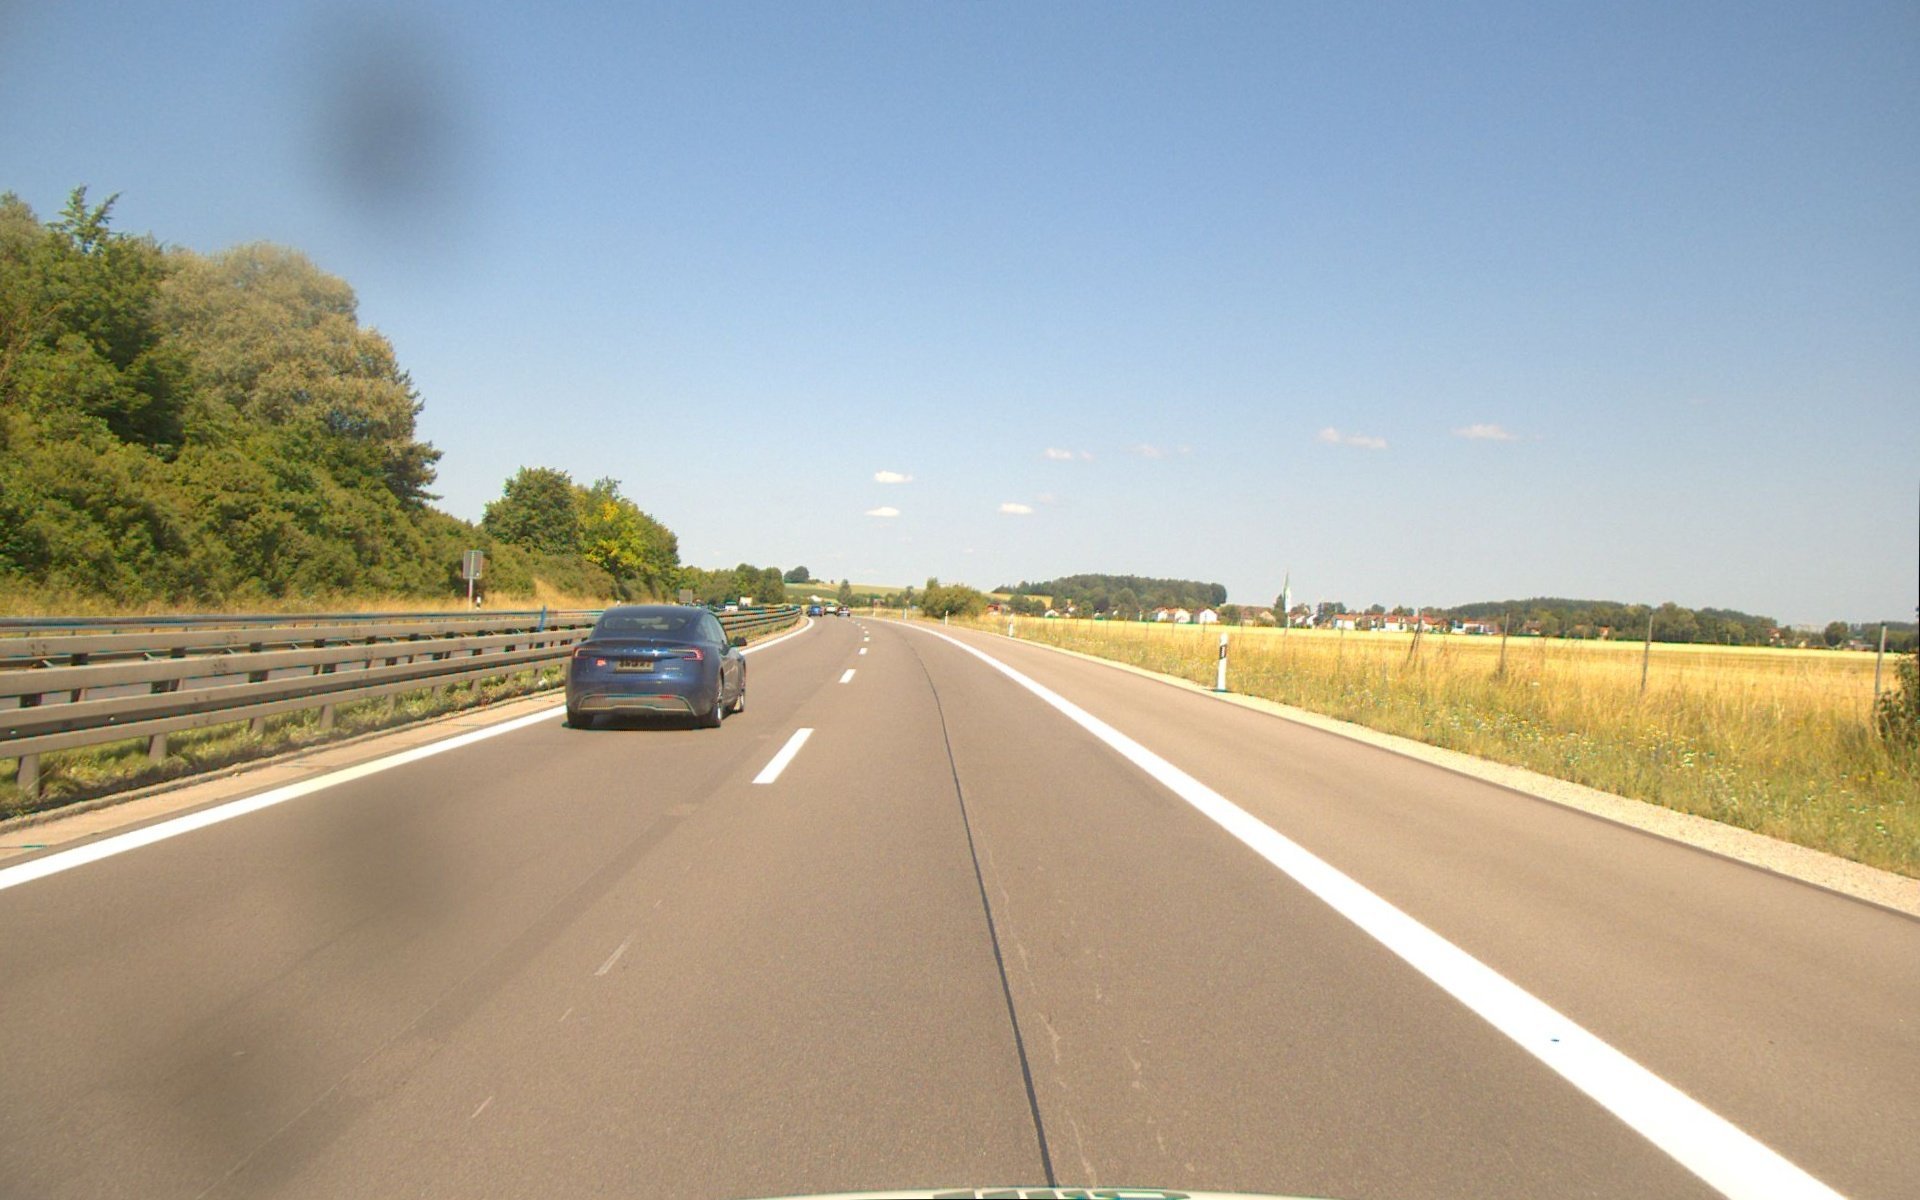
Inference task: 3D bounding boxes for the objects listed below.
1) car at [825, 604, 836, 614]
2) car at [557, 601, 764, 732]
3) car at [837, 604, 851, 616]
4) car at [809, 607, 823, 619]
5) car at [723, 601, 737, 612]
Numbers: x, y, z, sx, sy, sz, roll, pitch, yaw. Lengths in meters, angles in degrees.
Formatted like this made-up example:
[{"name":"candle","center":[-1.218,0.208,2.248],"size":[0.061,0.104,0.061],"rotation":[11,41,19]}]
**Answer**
[{"name":"car","center":[-19.816,1.342,252.514],"size":[1.643,1.479,3.588],"rotation":[1,0,-5]},{"name":"car","center":[-3.733,0.756,21.656],"size":[1.810,1.458,5.863],"rotation":[1,0,-2]},{"name":"car","center":[-14.935,1.284,212.833],"size":[1.644,1.479,3.586],"rotation":[1,0,-7]},{"name":"car","center":[-18.246,1.649,209.720],"size":[1.643,1.479,3.588],"rotation":[1,0,-5]},{"name":"car","center":[-33.488,0.948,240.535],"size":[1.717,1.592,4.575],"rotation":[2,0,-5]}]
